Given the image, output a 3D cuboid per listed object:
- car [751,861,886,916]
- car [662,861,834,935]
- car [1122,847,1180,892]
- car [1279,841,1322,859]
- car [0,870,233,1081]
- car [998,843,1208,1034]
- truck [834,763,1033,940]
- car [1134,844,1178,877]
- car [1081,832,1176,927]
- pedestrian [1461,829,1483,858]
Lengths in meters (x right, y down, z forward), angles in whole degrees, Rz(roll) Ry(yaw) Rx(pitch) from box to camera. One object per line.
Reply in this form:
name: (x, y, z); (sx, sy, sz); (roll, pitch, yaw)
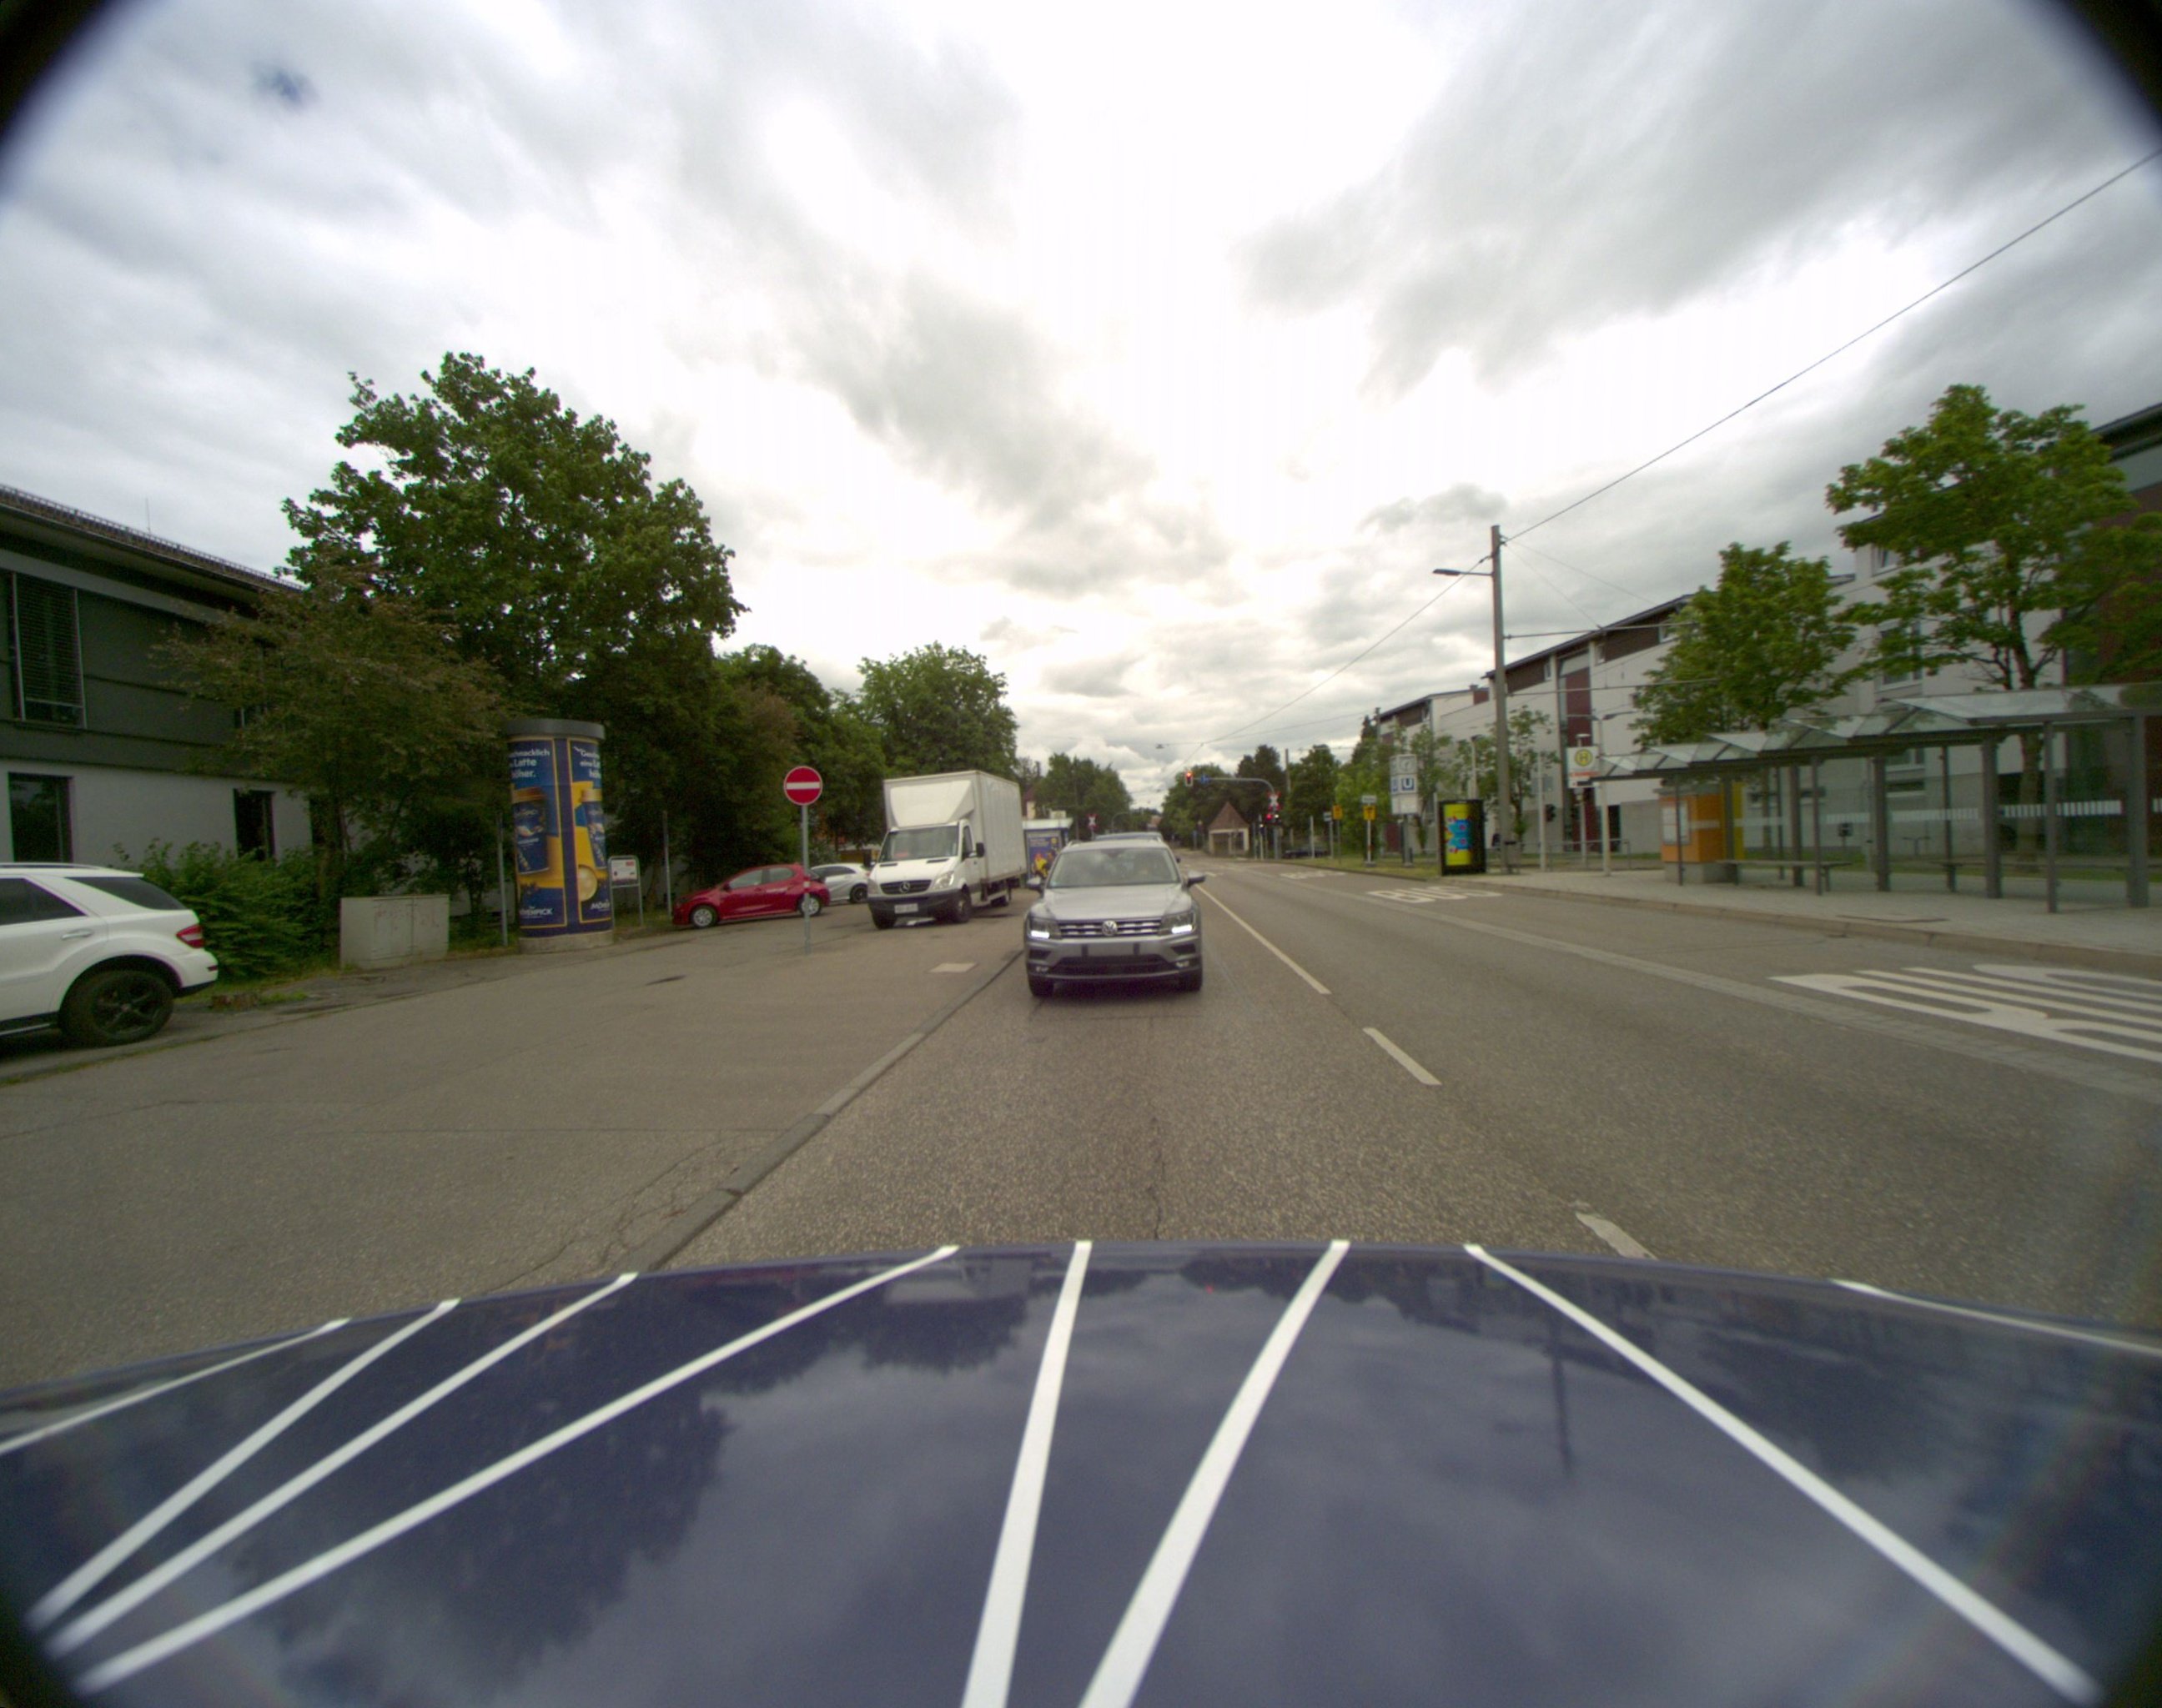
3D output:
car: (-8.792, 1.108, 25.475); (4.004, 1.402, 1.521); (-5, 2, -27)
car: (-8.704, 1.106, 20.187); (3.900, 1.475, 1.680); (-5, 2, -20)
car: (2.613, 0.553, 29.147); (1.849, 1.526, 4.000); (-2, 1, 1)
car: (23.180, -0.424, 80.421); (3.996, 1.696, 1.928); (-3, 1, 2)
car: (-10.253, 1.127, 5.851); (1.856, 1.747, 4.723); (-3, 1, 5)
car: (0.381, 0.742, 8.991); (1.810, 1.638, 4.331); (-3, 1, 5)
truck: (-3.176, -0.142, 18.968); (2.540, 3.407, 7.777); (-3, 1, 6)
car: (3.793, 0.304, 39.073); (1.849, 1.526, 4.000); (-2, 1, 1)
car: (1.132, 0.486, 17.474); (1.849, 1.850, 4.001); (-3, 1, 5)
pedestrian: (22.417, -0.593, 43.562); (0.781, 1.586, 0.780); (-3, 1, -4)
